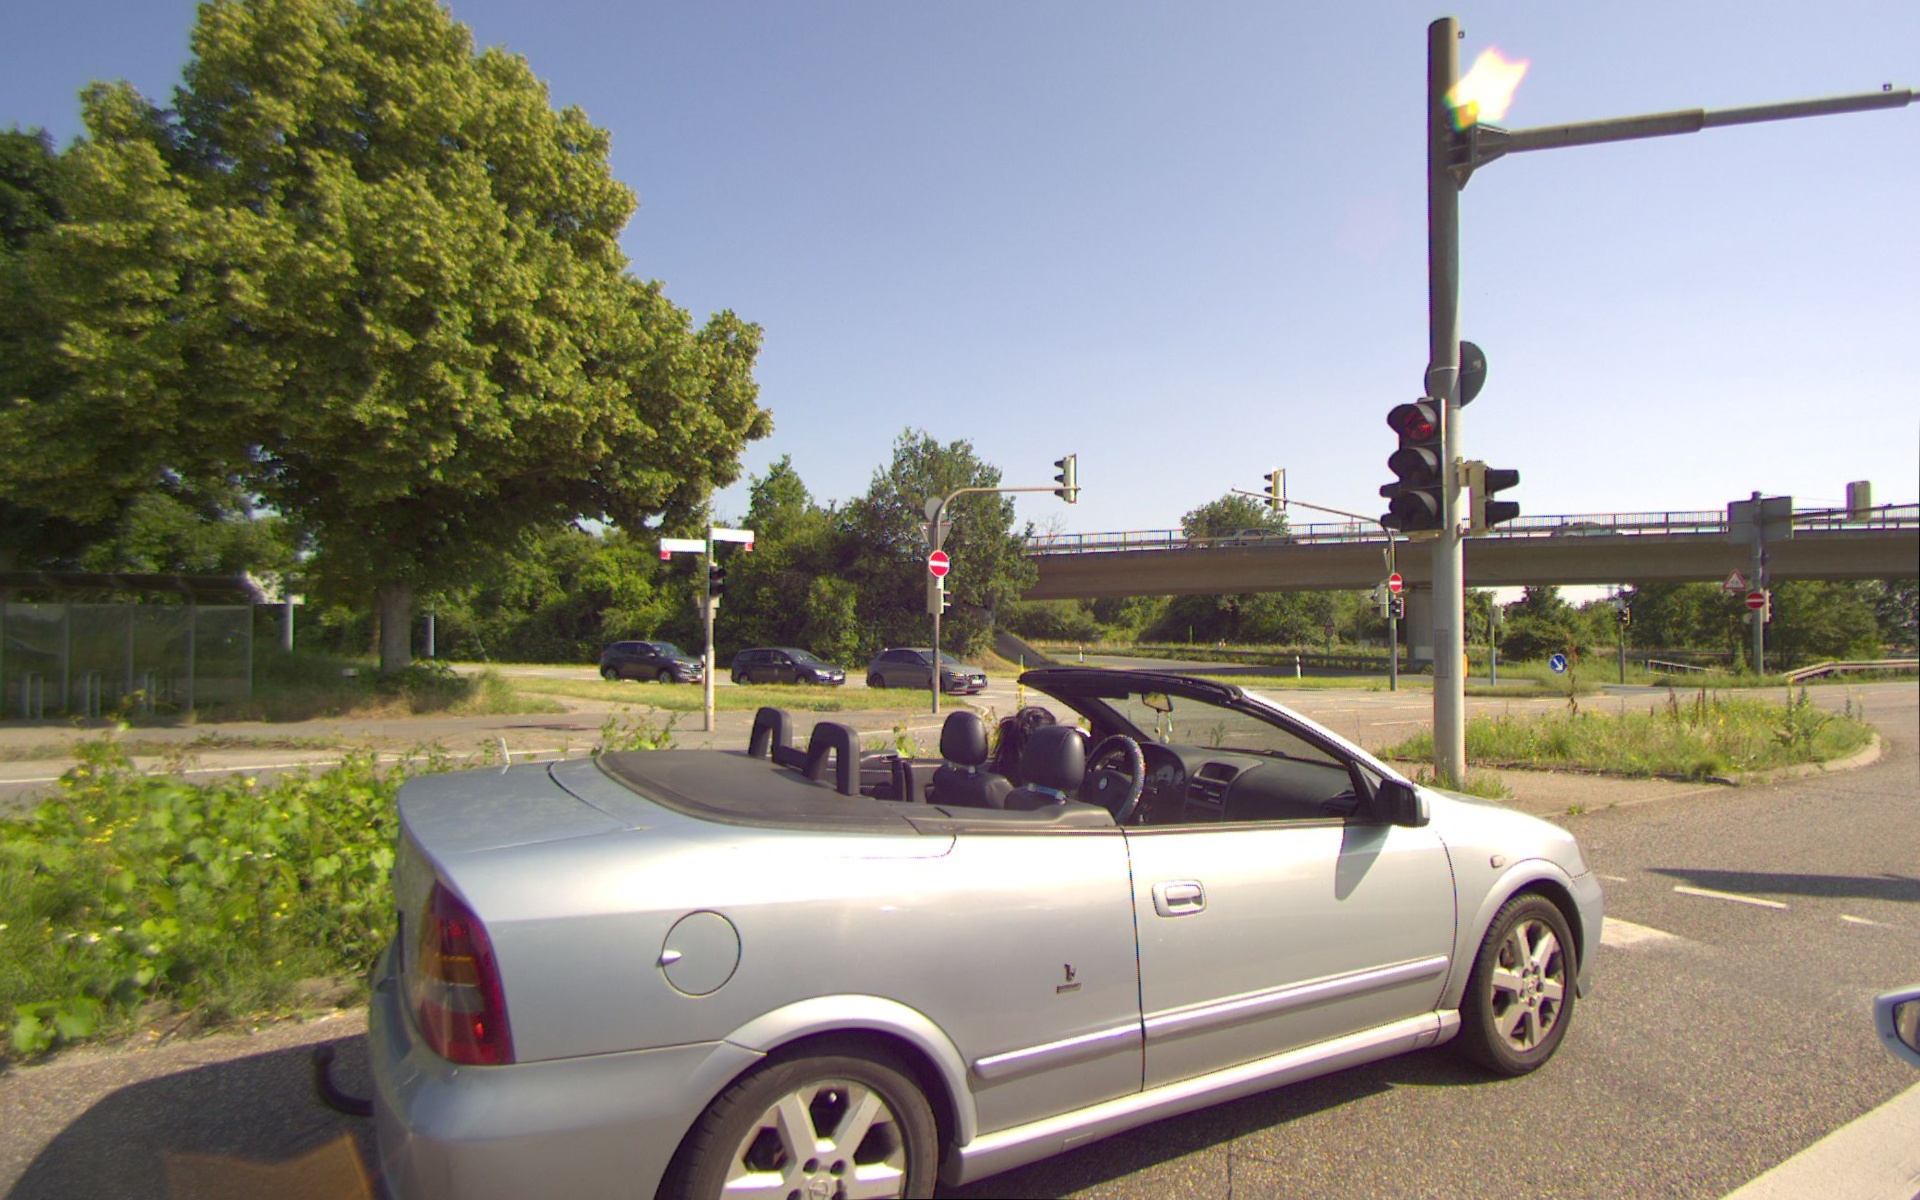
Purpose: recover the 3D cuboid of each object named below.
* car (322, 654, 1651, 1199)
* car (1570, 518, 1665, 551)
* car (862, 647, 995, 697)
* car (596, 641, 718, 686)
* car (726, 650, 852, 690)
[{"bbox_3d":[0.334,0.876,3.340,4.049,1.352,1.666,1,-3,-30],"label":"car"},{"bbox_3d":[33.873,-3.361,51.857,3.674,1.489,1.745,2,0,9],"label":"car"},{"bbox_3d":[-1.030,2.244,31.953,4.066,1.443,1.862,-2,-3,41],"label":"car"},{"bbox_3d":[-11.354,2.355,37.596,4.270,1.616,1.651,-1,-2,22],"label":"car"},{"bbox_3d":[-6.003,2.424,35.137,4.276,1.297,1.648,-1,-2,30],"label":"car"}]
